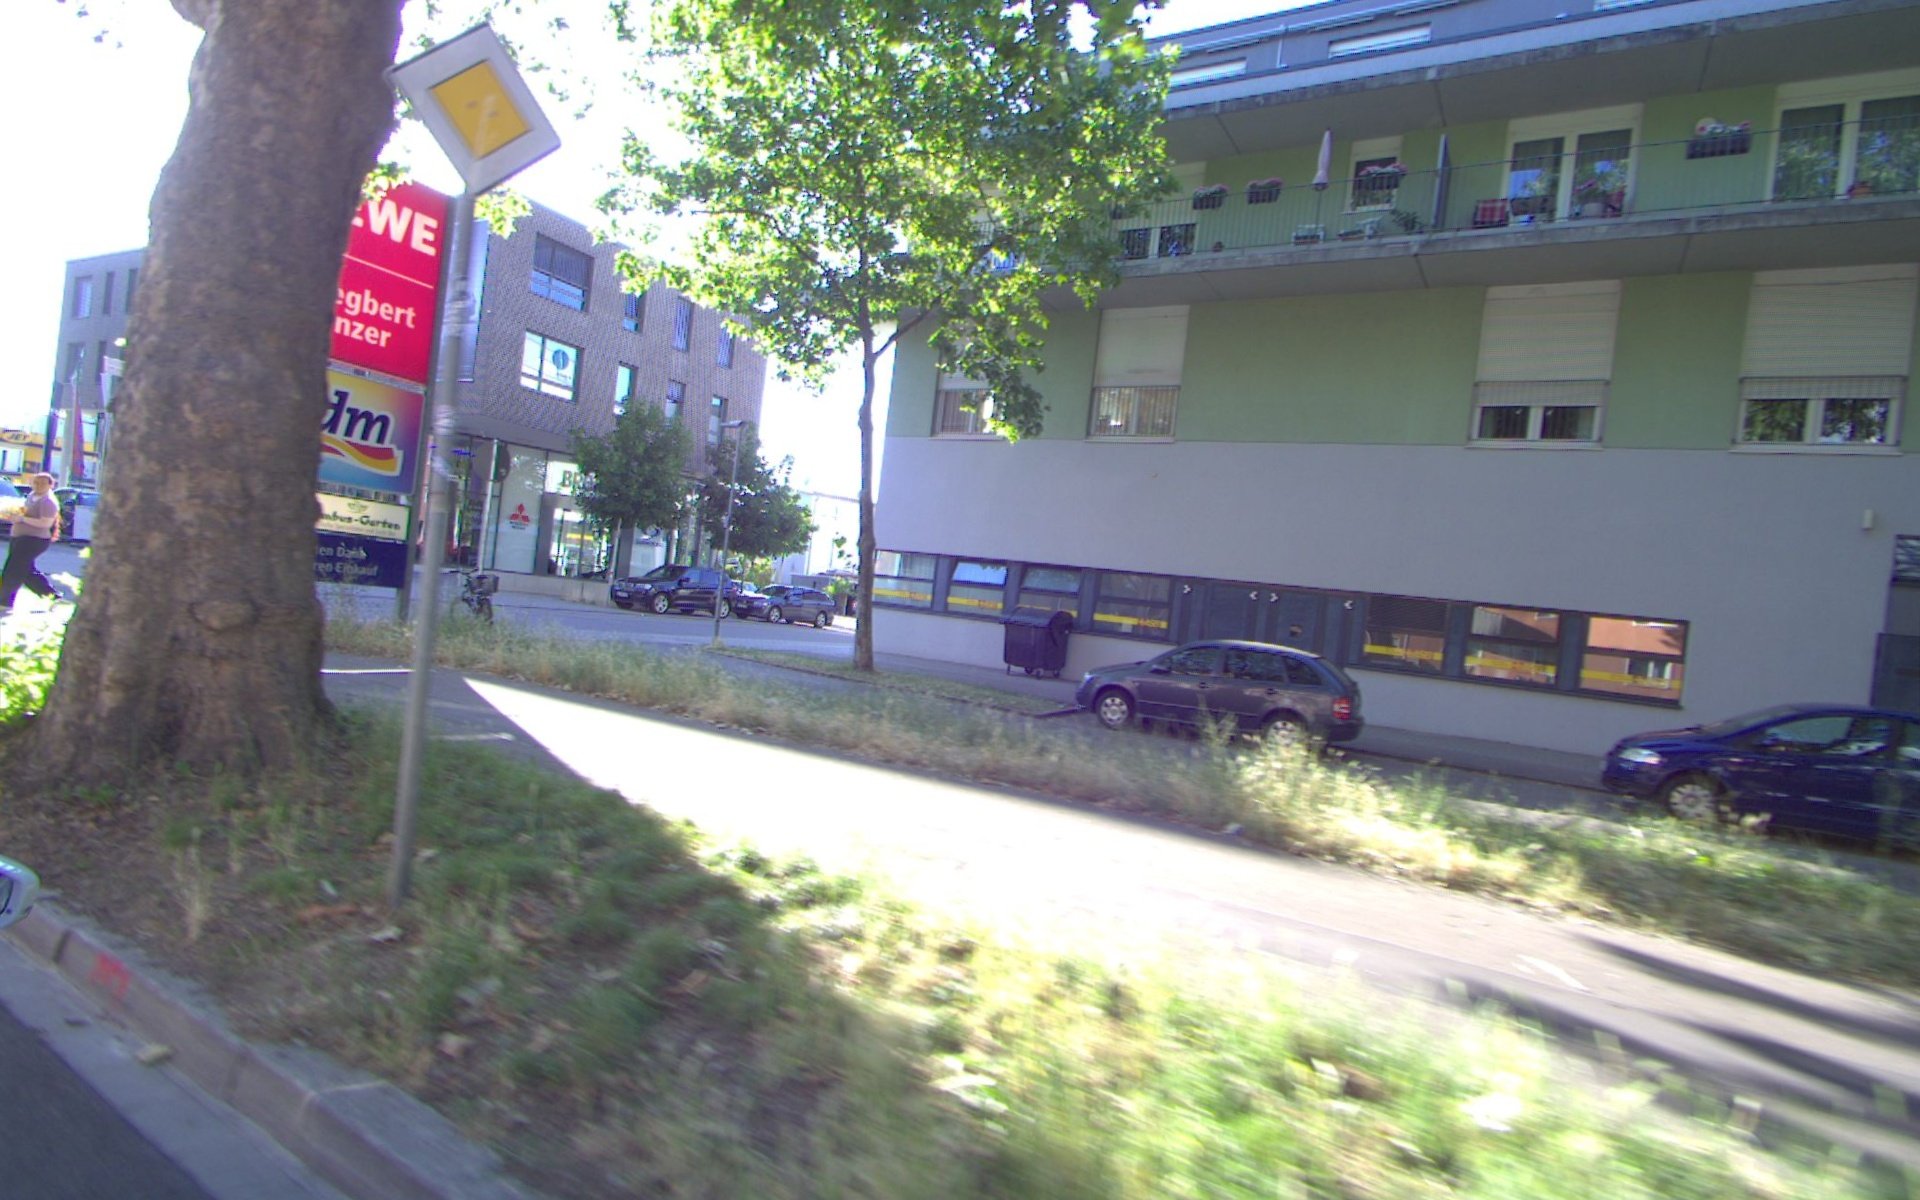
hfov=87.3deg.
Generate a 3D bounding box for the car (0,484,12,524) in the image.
[{"bbox_3d":[-37.932,-3.813,37.533,1.614,1.530,3.815,7,1,-4],"label":"car"}]

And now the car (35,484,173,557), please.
[{"bbox_3d":[-25.824,-2.396,30.321,4.108,1.705,1.730,7,0,29],"label":"car"}]

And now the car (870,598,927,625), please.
[{"bbox_3d":[-4.542,0.832,73.912,3.947,1.641,1.860,5,-2,43],"label":"car"}]

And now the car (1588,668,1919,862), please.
[{"bbox_3d":[9.349,1.802,11.312,3.697,1.572,1.861,7,0,32],"label":"car"}]

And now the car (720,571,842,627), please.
[{"bbox_3d":[-6.690,0.007,38.081,1.996,1.683,4.489,7,1,29],"label":"car"}]

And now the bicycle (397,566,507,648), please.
[{"bbox_3d":[-7.383,0.104,14.609,1.458,1.016,0.384,7,1,15],"label":"bicycle"}]

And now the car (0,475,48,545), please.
[{"bbox_3d":[-27.334,-2.644,27.739,4.293,1.753,1.829,7,0,29],"label":"car"}]

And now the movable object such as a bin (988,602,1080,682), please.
[{"bbox_3d":[1.569,0.890,21.358,1.388,1.481,1.191,7,1,43],"label":"movable object such as a bin"}]

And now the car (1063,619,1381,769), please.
[{"bbox_3d":[3.812,1.284,14.756,4.053,1.487,1.862,7,0,30],"label":"car"}]

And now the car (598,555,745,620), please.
[{"bbox_3d":[-9.492,-0.382,33.474,1.995,1.683,4.489,7,1,28],"label":"car"}]

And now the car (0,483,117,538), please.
[{"bbox_3d":[-32.058,-3.132,35.419,1.614,1.530,3.815,7,1,-4],"label":"car"}]

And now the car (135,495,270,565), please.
[{"bbox_3d":[-24.667,-2.290,32.736,4.108,1.755,1.879,7,0,29],"label":"car"}]

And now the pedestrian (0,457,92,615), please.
[{"bbox_3d":[-11.013,-0.754,11.926,0.651,1.785,0.770,6,2,9],"label":"pedestrian"}]
